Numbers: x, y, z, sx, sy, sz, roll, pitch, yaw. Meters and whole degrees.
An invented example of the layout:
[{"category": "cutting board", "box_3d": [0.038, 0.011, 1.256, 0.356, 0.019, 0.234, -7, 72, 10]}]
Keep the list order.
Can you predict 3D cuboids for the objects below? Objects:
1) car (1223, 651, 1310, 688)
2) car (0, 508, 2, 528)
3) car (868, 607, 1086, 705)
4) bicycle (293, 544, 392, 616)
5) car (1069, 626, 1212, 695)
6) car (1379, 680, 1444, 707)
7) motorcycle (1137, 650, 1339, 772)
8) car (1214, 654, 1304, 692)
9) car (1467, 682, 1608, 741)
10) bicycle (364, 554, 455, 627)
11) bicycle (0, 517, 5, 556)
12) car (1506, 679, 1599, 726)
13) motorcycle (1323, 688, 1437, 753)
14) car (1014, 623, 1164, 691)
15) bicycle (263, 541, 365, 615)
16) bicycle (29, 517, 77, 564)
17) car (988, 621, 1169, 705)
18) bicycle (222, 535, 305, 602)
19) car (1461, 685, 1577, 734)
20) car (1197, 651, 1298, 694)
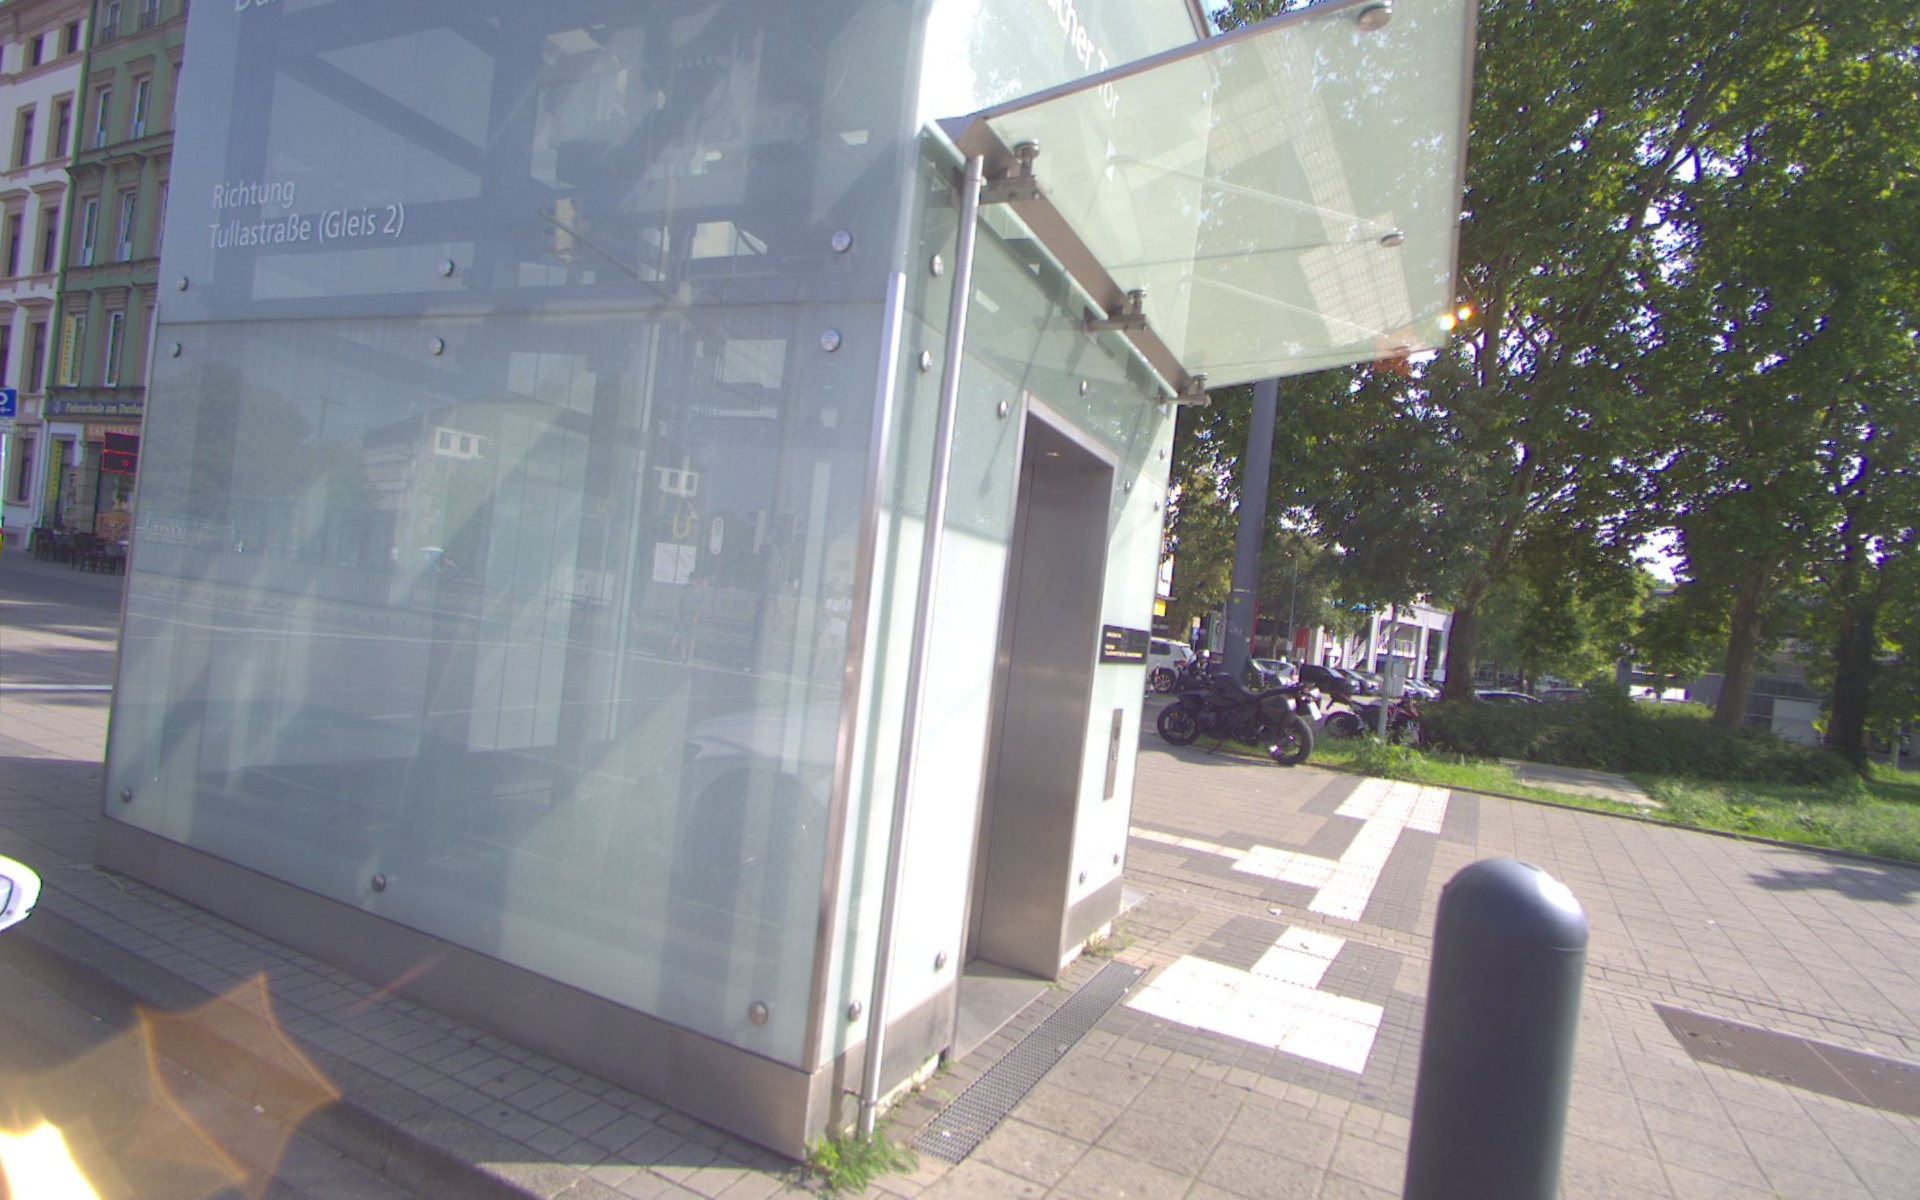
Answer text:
[{"category": "car", "box_3d": [15.779, 3.579, 51.862, 3.930, 1.393, 1.740, 6, 0, 27]}, {"category": "car", "box_3d": [-14.761, -0.766, 12.565, 1.817, 1.440, 4.402, 7, -1, -10]}, {"category": "car", "box_3d": [0.321, 1.141, 20.872, 4.123, 1.459, 1.659, 6, 0, 29]}, {"category": "bicycle", "box_3d": [-13.028, -0.425, 21.228, 1.960, 1.277, 0.604, 7, 0, 20]}, {"category": "car", "box_3d": [5.787, 1.923, 32.299, 3.932, 1.664, 1.997, 6, 0, 29]}, {"category": "car", "box_3d": [33.164, 6.876, 73.937, 1.732, 1.393, 3.950, 7, -1, -44]}, {"category": "motorcycle", "box_3d": [3.424, 1.344, 12.588, 2.271, 1.161, 0.701, 6, 0, 44]}, {"category": "car", "box_3d": [14.924, 3.634, 50.189, 3.930, 1.393, 1.740, 6, 0, 27]}, {"category": "car", "box_3d": [19.503, 3.737, 34.177, 3.930, 1.393, 1.998, 6, -1, 27]}, {"category": "bicycle", "box_3d": [-11.134, -0.201, 20.339, 1.817, 1.277, 0.603, 6, 0, 28]}, {"category": "bicycle", "box_3d": [-29.310, -1.970, 30.192, 1.690, 1.148, 0.384, 6, 0, 29]}, {"category": "car", "box_3d": [33.776, 5.844, 57.432, 1.929, 2.038, 3.961, 7, -1, -36]}, {"category": "motorcycle", "box_3d": [8.567, 2.454, 20.580, 1.931, 1.014, 0.701, 6, 0, 44]}, {"category": "car", "box_3d": [3.904, 1.732, 30.563, 3.932, 1.525, 1.997, 6, 0, 29]}, {"category": "bicycle", "box_3d": [-13.201, -0.456, 20.557, 1.960, 1.277, 0.604, 7, 0, 20]}, {"category": "bicycle", "box_3d": [-25.344, -1.670, 28.110, 1.690, 1.148, 0.384, 6, 0, 29]}, {"category": "car", "box_3d": [2.979, 1.562, 25.296, 3.932, 1.525, 1.997, 6, 0, 29]}, {"category": "bicycle", "box_3d": [-15.515, -0.706, 22.404, 1.963, 1.277, 0.603, 6, 0, 28]}, {"category": "car", "box_3d": [22.745, 4.428, 41.116, 3.930, 1.393, 1.998, 6, -1, 27]}, {"category": "car", "box_3d": [12.924, 3.257, 45.220, 3.930, 1.393, 1.998, 6, -1, 27]}]
